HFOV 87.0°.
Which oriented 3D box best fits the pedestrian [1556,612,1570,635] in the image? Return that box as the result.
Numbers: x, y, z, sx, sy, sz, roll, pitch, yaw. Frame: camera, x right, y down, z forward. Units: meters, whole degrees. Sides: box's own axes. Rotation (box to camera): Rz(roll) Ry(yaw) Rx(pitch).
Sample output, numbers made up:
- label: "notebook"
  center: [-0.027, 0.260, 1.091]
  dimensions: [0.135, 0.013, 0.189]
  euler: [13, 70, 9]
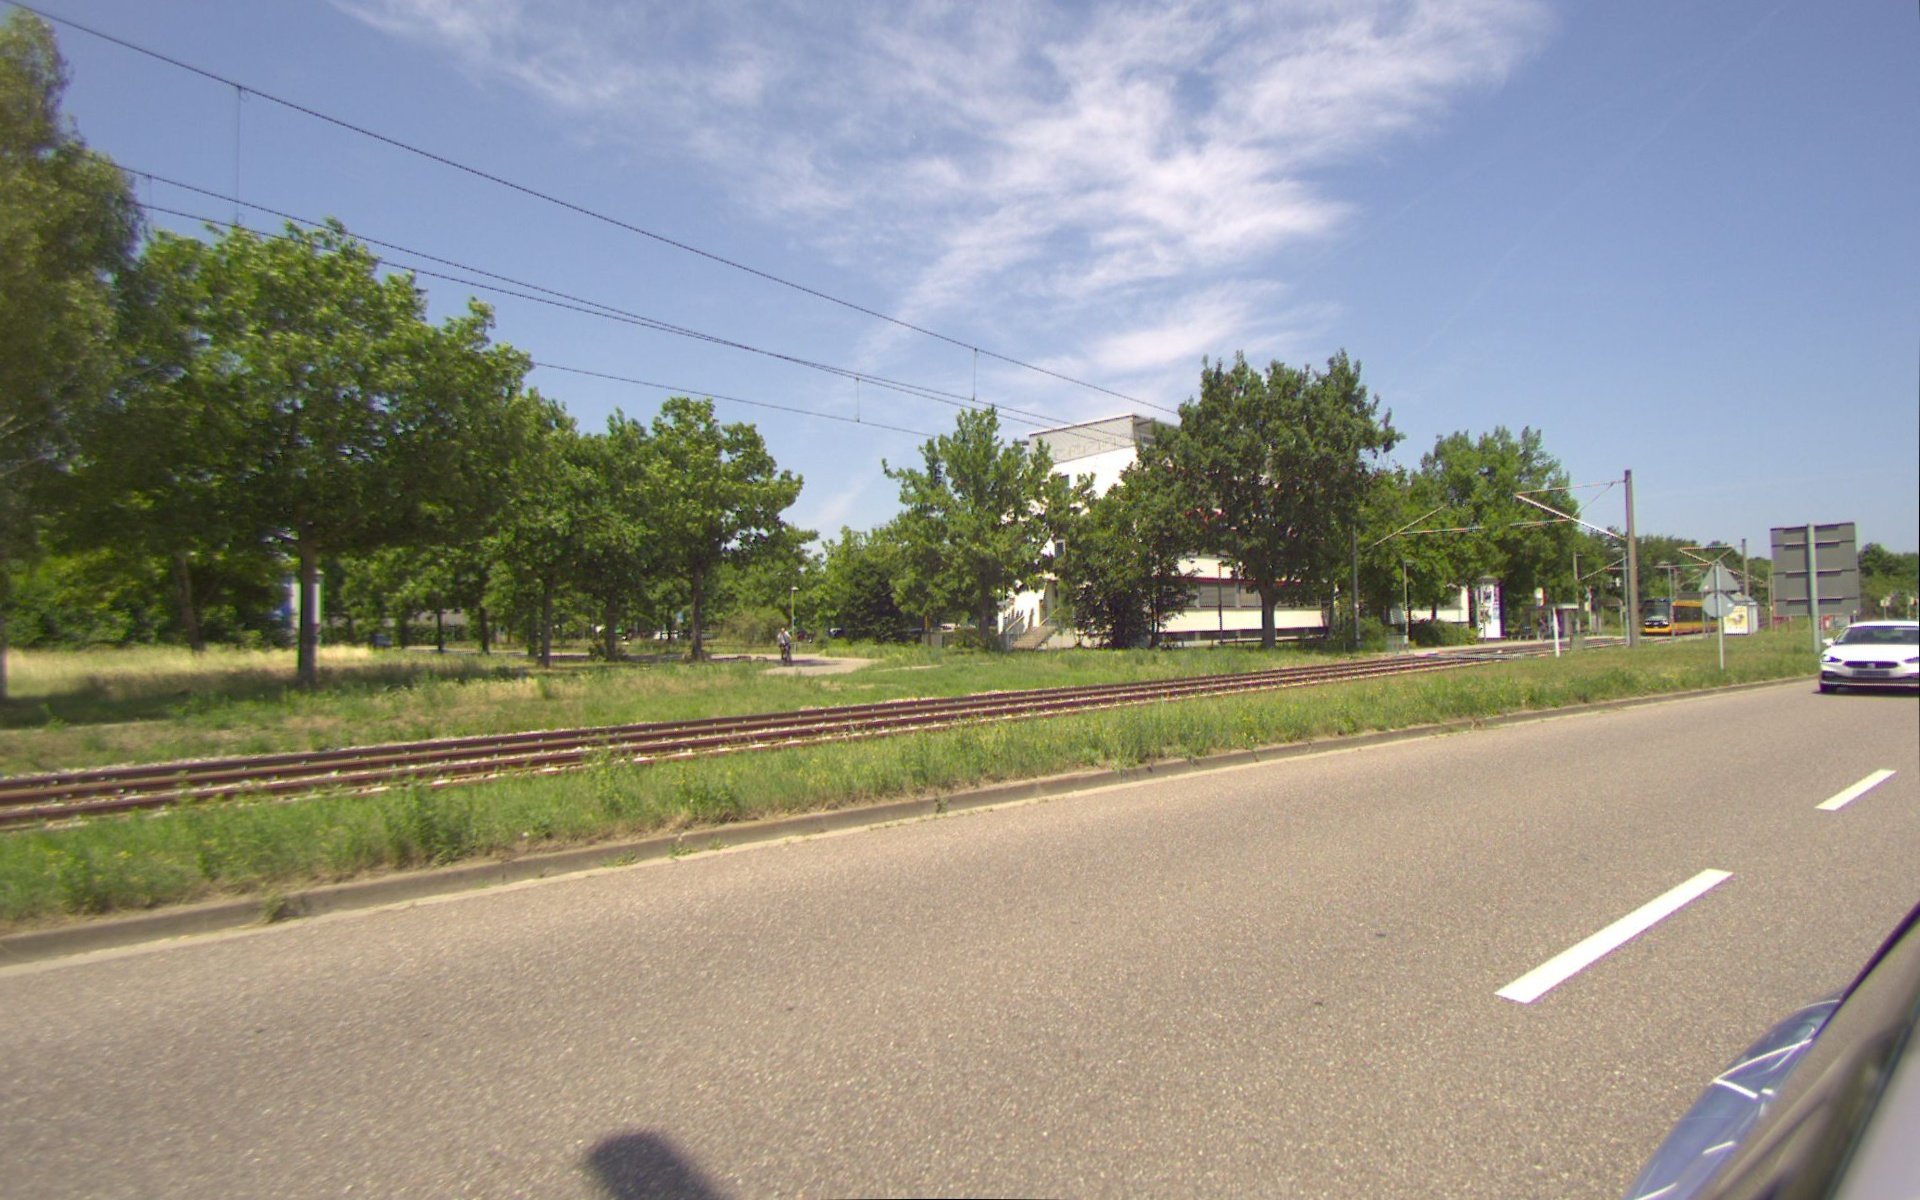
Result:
- label: "pedestrian"
  center: [43.055, 1.686, 72.282]
  dimensions: [0.678, 1.629, 0.552]
  euler: [0, -4, -40]

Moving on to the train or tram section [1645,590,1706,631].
- label: "train or tram section"
  center: [66.782, 0.996, 94.319]
  dimensions: [2.813, 3.628, 12.302]
  euler: [-3, -2, 44]

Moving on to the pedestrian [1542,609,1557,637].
- label: "pedestrian"
  center: [39.845, 1.557, 68.387]
  dimensions: [0.691, 1.866, 0.703]
  euler: [-4, -3, 34]

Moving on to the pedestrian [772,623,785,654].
- label: "pedestrian"
  center: [-8.552, 1.802, 47.721]
  dimensions: [0.449, 1.421, 0.585]
  euler: [0, -2, -27]

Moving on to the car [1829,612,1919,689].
- label: "car"
  center: [19.103, 0.952, 20.462]
  dimensions: [4.372, 1.407, 1.685]
  euler: [0, -1, -41]

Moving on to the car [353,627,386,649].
- label: "car"
  center: [-60.102, 3.852, 102.964]
  dimensions: [3.985, 2.040, 1.968]
  euler: [-5, -3, 44]

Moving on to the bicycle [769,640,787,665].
- label: "bicycle"
  center: [-8.561, 2.476, 47.615]
  dimensions: [0.422, 1.134, 1.583]
  euler: [0, -2, -25]
